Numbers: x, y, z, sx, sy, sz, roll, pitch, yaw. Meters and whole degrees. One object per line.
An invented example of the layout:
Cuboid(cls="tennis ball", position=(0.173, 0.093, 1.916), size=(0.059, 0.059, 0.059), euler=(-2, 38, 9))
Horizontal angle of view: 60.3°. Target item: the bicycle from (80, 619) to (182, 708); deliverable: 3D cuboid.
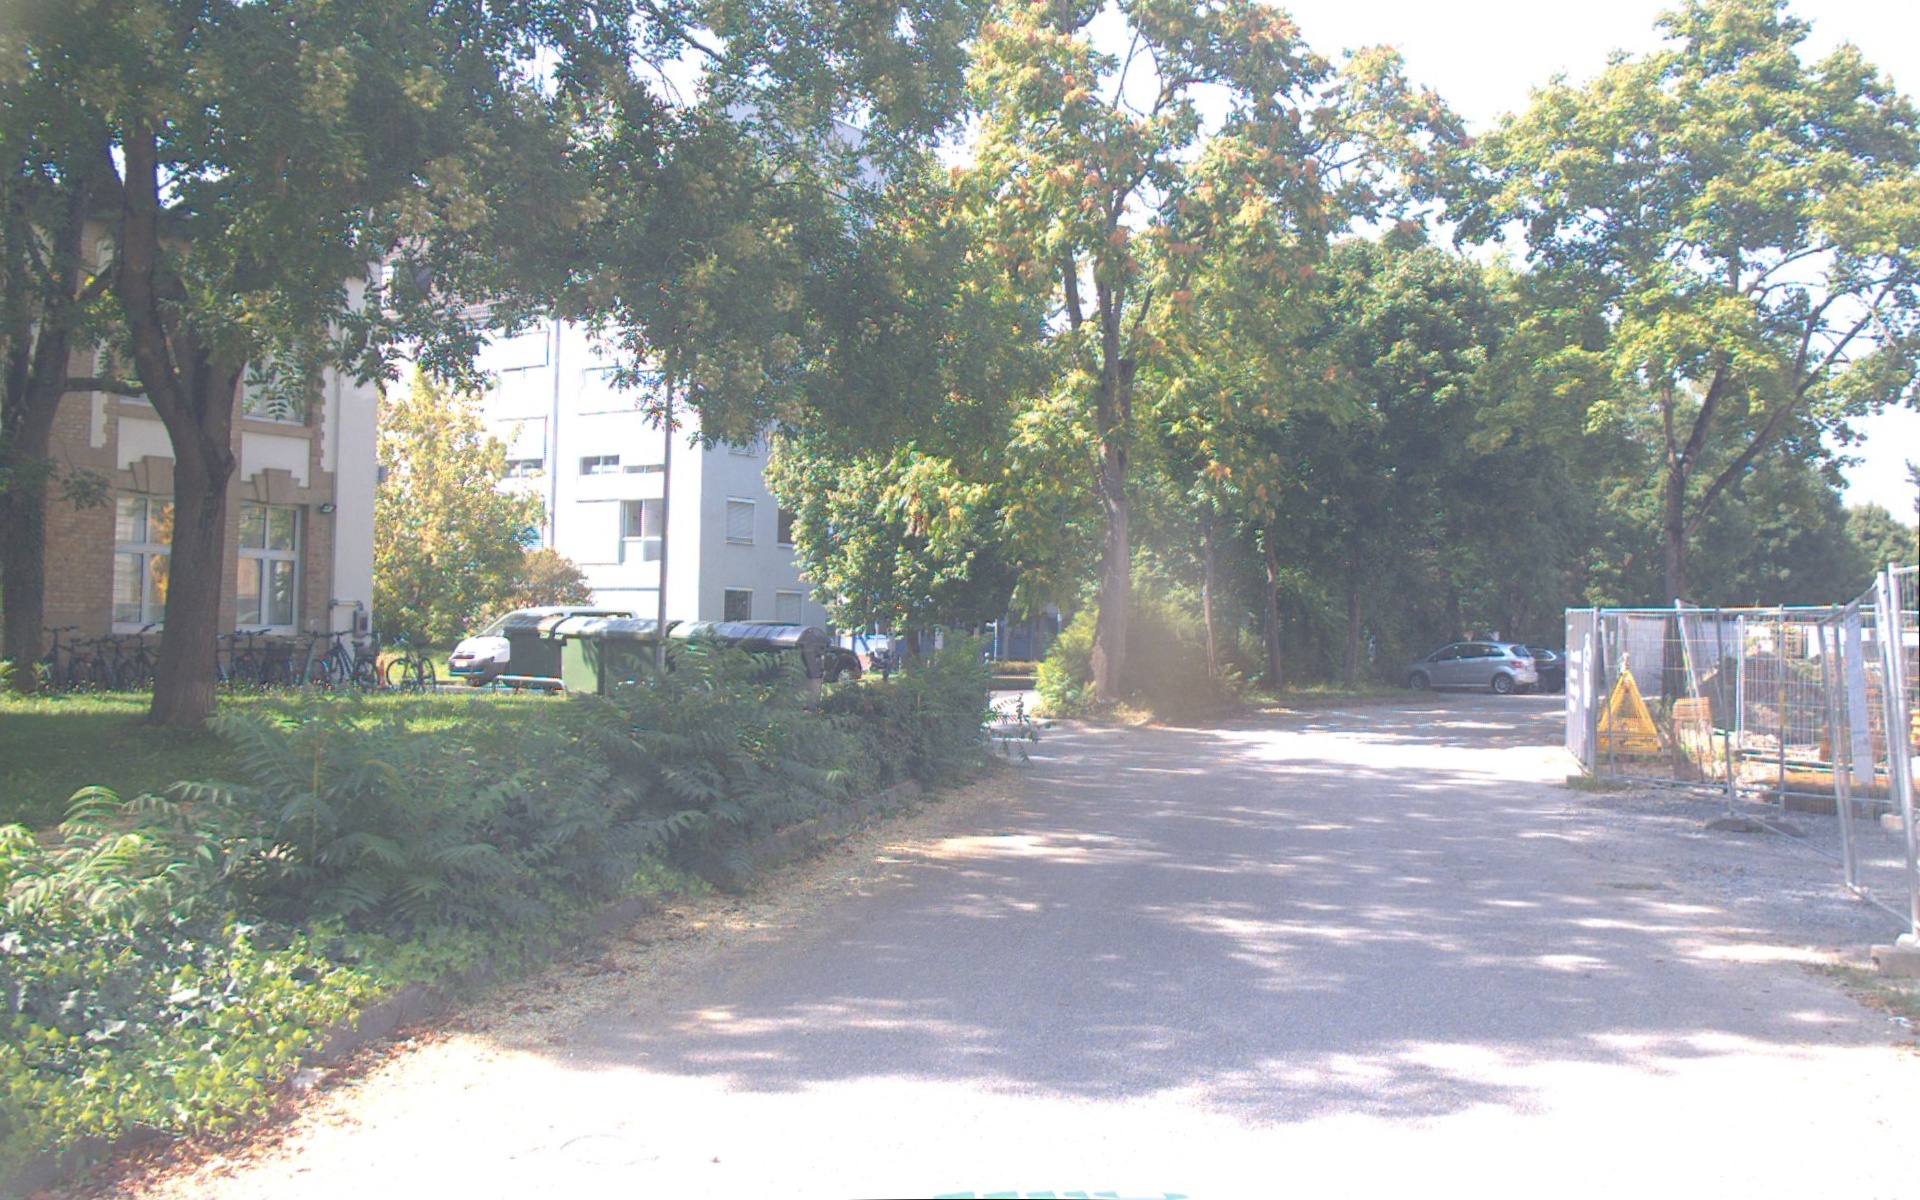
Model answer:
Cuboid(cls="bicycle", position=(-12.756, 0.962, 25.427), size=(2.133, 1.325, 0.606), euler=(-1, -3, 41))

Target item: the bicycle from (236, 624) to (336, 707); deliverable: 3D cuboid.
Cuboid(cls="bicycle", position=(-11.190, 1.068, 27.425), size=(2.133, 1.325, 0.606), euler=(-1, -3, 41))

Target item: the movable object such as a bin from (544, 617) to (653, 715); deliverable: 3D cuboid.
Cuboid(cls="movable object such as a bin", position=(-5.901, 1.064, 27.034), size=(1.181, 1.522, 1.247), euler=(1, -1, 31))

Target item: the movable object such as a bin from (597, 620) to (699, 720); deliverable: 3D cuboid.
Cuboid(cls="movable object such as a bin", position=(-4.901, 1.092, 26.022), size=(1.078, 1.508, 1.099), euler=(1, -1, 31))

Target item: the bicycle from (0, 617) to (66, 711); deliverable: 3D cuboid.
Cuboid(cls="bicycle", position=(-13.869, 0.919, 24.231), size=(2.133, 1.325, 0.606), euler=(-1, -3, 41))

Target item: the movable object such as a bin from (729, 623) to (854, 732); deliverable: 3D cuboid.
Cuboid(cls="movable object such as a bin", position=(-2.499, 1.135, 24.646), size=(1.341, 1.519, 1.335), euler=(1, -1, 22))

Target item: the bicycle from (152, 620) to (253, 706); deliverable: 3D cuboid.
Cuboid(cls="bicycle", position=(-12.047, 0.986, 26.269), size=(2.133, 1.325, 0.606), euler=(-1, -3, 41))

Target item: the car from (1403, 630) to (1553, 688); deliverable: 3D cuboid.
Cuboid(cls="car", position=(16.328, 1.843, 52.163), size=(4.081, 1.641, 1.991), euler=(1, -1, 38))

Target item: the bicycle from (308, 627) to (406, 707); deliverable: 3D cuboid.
Cuboid(cls="bicycle", position=(-10.435, 1.145, 28.572), size=(2.133, 1.325, 0.606), euler=(-1, -3, 41))

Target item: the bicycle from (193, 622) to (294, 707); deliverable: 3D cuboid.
Cuboid(cls="bicycle", position=(-11.690, 1.035, 26.957), size=(2.133, 1.325, 0.606), euler=(-1, -3, 41))

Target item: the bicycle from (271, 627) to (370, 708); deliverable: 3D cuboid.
Cuboid(cls="bicycle", position=(-10.848, 1.124, 28.025), size=(2.133, 1.325, 0.606), euler=(-1, -3, 41))

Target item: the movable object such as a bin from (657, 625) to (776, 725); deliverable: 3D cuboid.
Cuboid(cls="movable object such as a bin", position=(-3.757, 1.141, 25.575), size=(1.303, 1.457, 1.247), euler=(1, -1, 30))

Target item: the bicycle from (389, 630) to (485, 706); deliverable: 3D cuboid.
Cuboid(cls="bicycle", position=(-9.486, 1.214, 29.955), size=(2.133, 1.325, 0.606), euler=(-1, -3, 41))

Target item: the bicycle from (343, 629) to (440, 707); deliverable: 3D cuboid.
Cuboid(cls="bicycle", position=(-10.014, 1.183, 29.107), size=(2.133, 1.325, 0.606), euler=(-1, -3, 41))

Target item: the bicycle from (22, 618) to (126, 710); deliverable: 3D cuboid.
Cuboid(cls="bicycle", position=(-13.258, 0.944, 24.720), size=(2.133, 1.325, 0.606), euler=(-1, -3, 41))

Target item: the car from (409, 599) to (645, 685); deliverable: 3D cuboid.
Cuboid(cls="car", position=(-10.370, 1.012, 39.926), size=(2.455, 1.914, 5.059), euler=(0, -2, 39))

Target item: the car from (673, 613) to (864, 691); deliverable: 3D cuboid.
Cuboid(cls="car", position=(-4.018, 1.091, 35.094), size=(1.677, 1.555, 3.887), euler=(0, -2, 42))

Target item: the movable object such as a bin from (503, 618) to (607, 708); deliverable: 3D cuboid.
Cuboid(cls="movable object such as a bin", position=(-6.958, 1.073, 28.452), size=(1.181, 1.470, 1.247), euler=(1, -1, 31))
